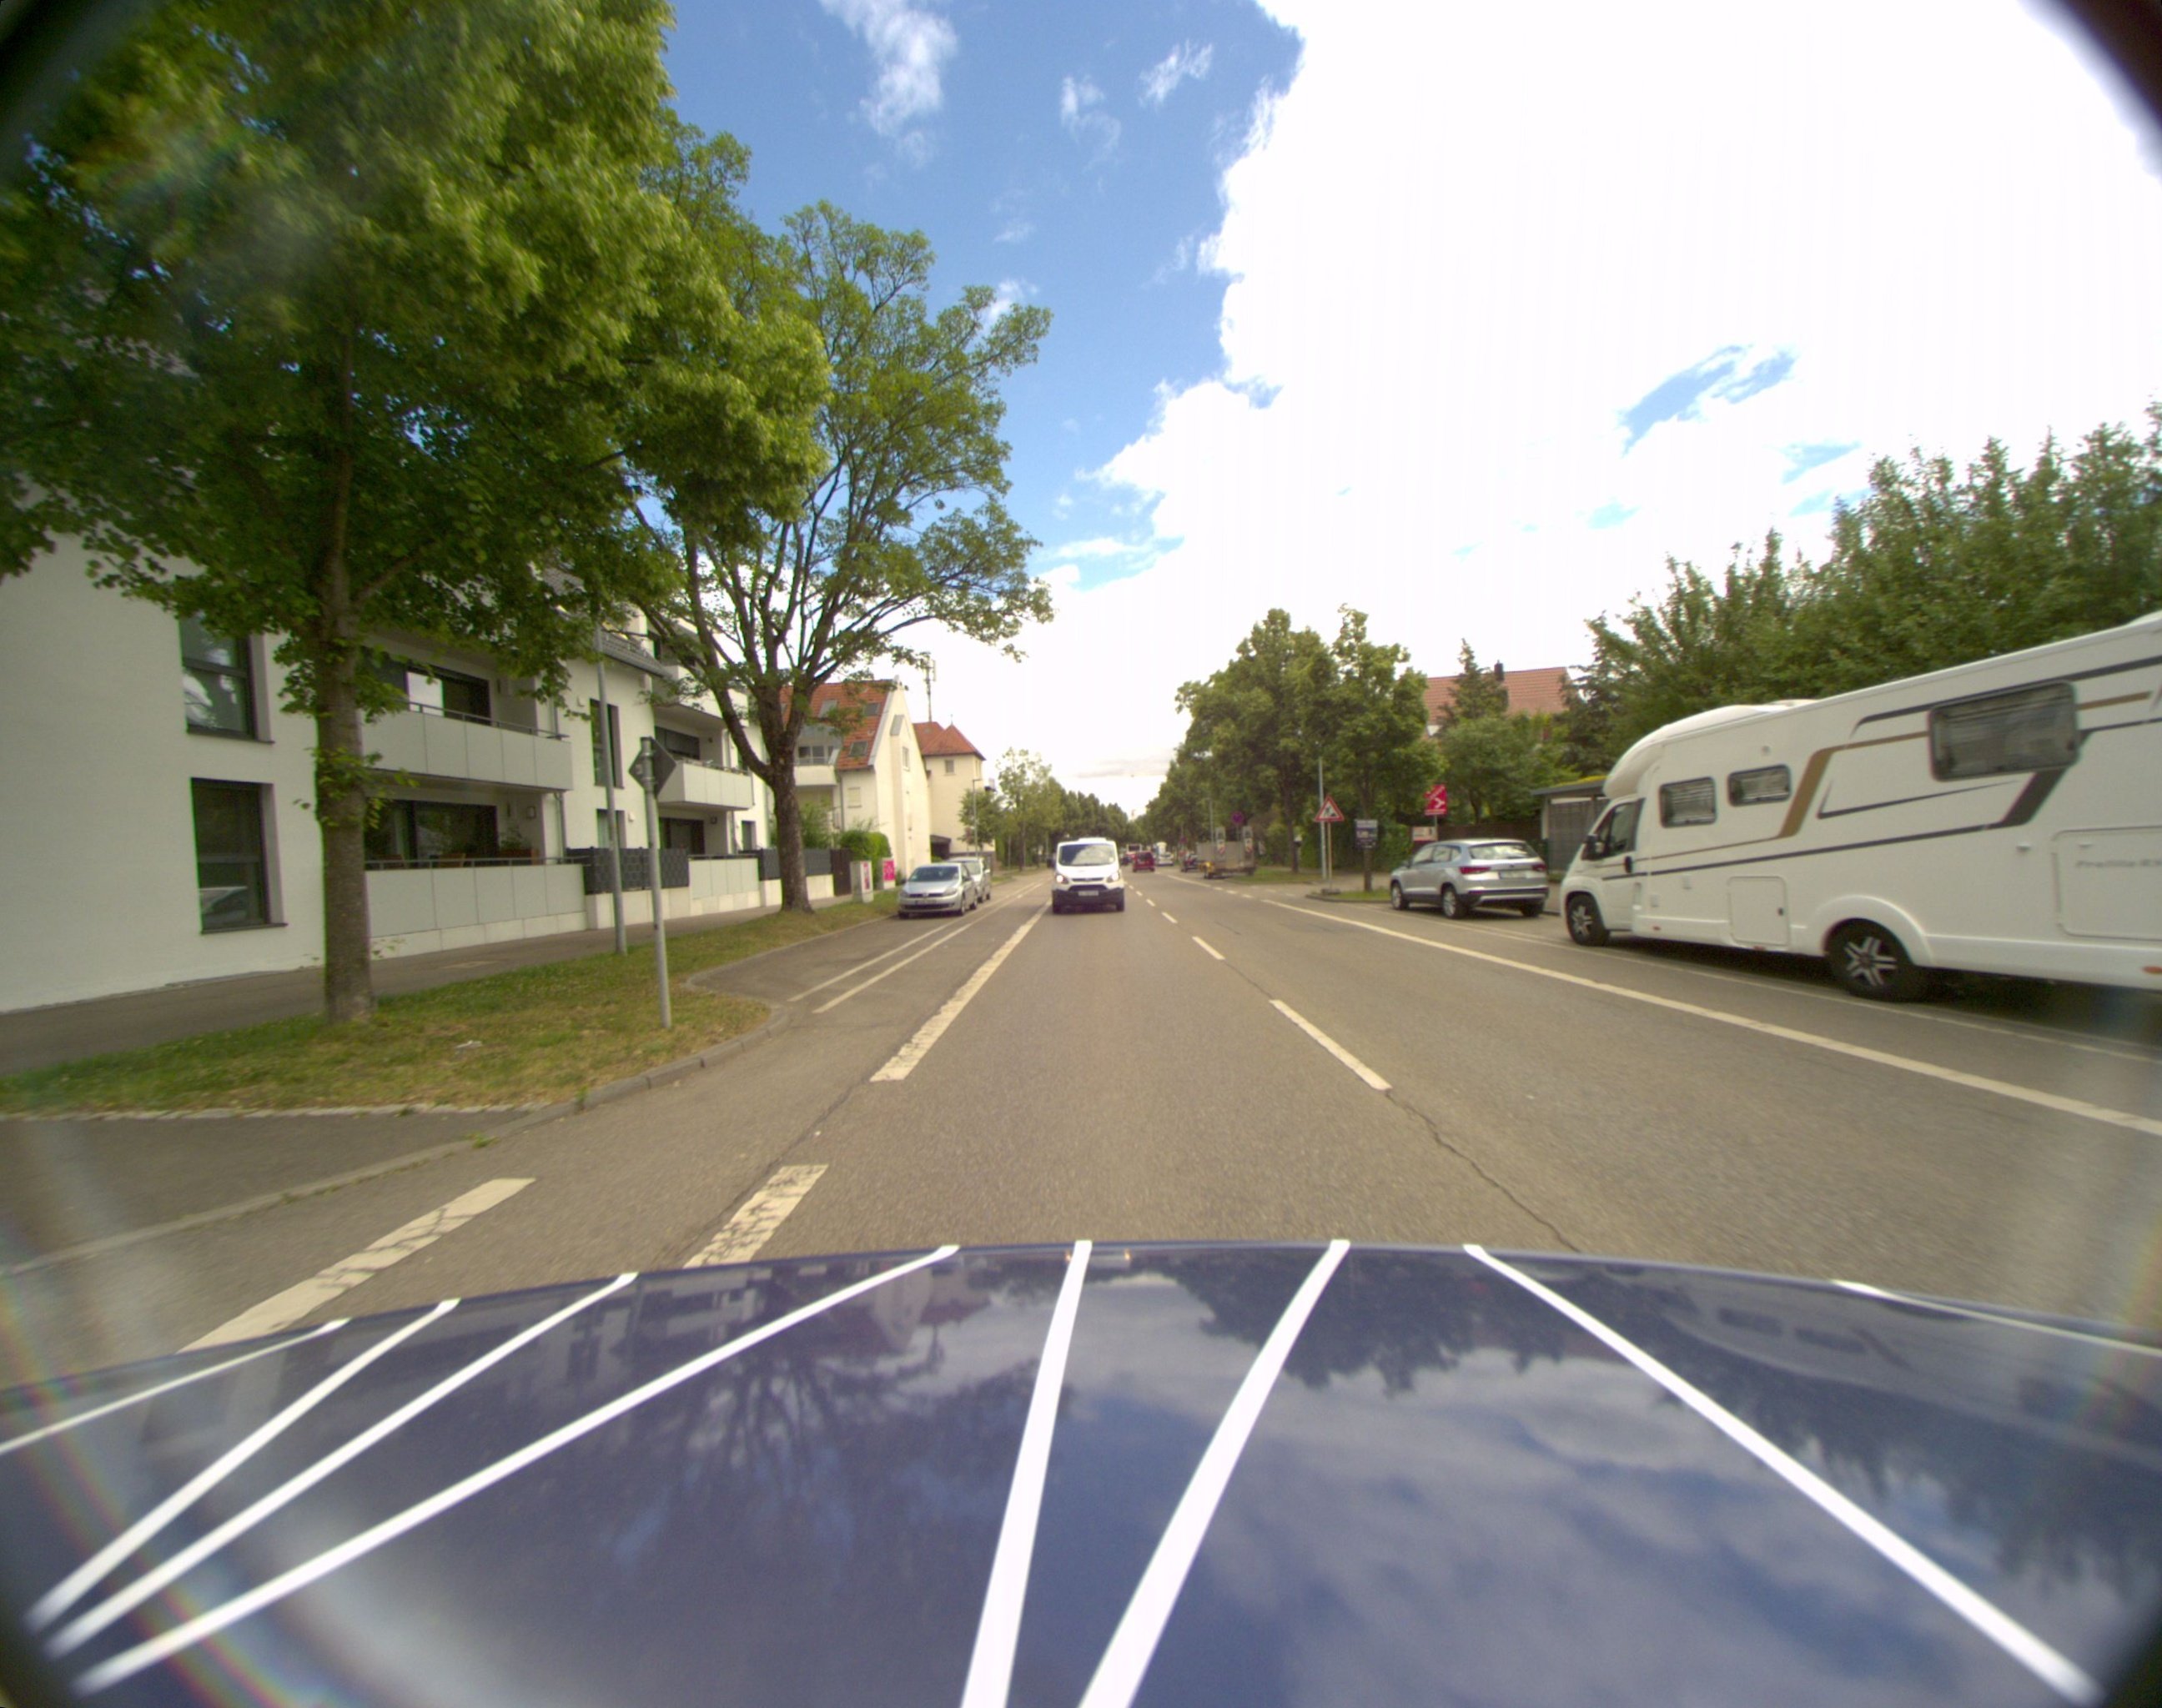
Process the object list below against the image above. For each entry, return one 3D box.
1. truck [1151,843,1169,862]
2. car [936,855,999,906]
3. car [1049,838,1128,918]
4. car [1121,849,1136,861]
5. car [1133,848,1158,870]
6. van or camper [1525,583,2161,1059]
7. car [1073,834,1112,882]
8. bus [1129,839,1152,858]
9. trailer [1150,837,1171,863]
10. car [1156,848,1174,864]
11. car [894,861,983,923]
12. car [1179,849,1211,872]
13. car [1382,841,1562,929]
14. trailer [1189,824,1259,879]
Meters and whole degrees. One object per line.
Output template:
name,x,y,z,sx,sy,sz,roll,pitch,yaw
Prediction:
truck,10.423,-0.224,99.987,2.300,2.274,6.465,-2,0,6
car,-4.093,0.909,27.893,1.636,1.656,3.648,-2,0,1
car,0.290,0.613,22.409,1.998,2.002,5.319,-2,0,2
car,6.737,0.080,108.507,1.998,1.658,4.589,-1,0,2
car,5.500,0.394,65.655,1.764,1.792,4.768,-2,0,1
van or camper,8.090,-0.259,7.955,2.441,2.992,7.693,-2,0,1
car,0.721,0.213,44.652,1.998,2.584,4.001,-3,0,3
bus,11.195,-1.043,140.629,2.810,3.269,18.055,1,1,9
trailer,9.782,-0.526,93.281,2.377,2.946,7.013,-2,0,6
car,9.574,0.184,86.604,1.693,1.674,4.225,-3,1,2
car,-3.983,1.007,21.869,1.691,1.484,4.227,-2,0,1
car,8.973,0.470,60.098,1.865,1.544,4.618,-3,2,1
car,8.189,0.575,16.411,1.727,1.591,4.272,-2,0,1
trailer,8.422,-0.188,45.520,2.680,2.924,7.474,-3,1,0
